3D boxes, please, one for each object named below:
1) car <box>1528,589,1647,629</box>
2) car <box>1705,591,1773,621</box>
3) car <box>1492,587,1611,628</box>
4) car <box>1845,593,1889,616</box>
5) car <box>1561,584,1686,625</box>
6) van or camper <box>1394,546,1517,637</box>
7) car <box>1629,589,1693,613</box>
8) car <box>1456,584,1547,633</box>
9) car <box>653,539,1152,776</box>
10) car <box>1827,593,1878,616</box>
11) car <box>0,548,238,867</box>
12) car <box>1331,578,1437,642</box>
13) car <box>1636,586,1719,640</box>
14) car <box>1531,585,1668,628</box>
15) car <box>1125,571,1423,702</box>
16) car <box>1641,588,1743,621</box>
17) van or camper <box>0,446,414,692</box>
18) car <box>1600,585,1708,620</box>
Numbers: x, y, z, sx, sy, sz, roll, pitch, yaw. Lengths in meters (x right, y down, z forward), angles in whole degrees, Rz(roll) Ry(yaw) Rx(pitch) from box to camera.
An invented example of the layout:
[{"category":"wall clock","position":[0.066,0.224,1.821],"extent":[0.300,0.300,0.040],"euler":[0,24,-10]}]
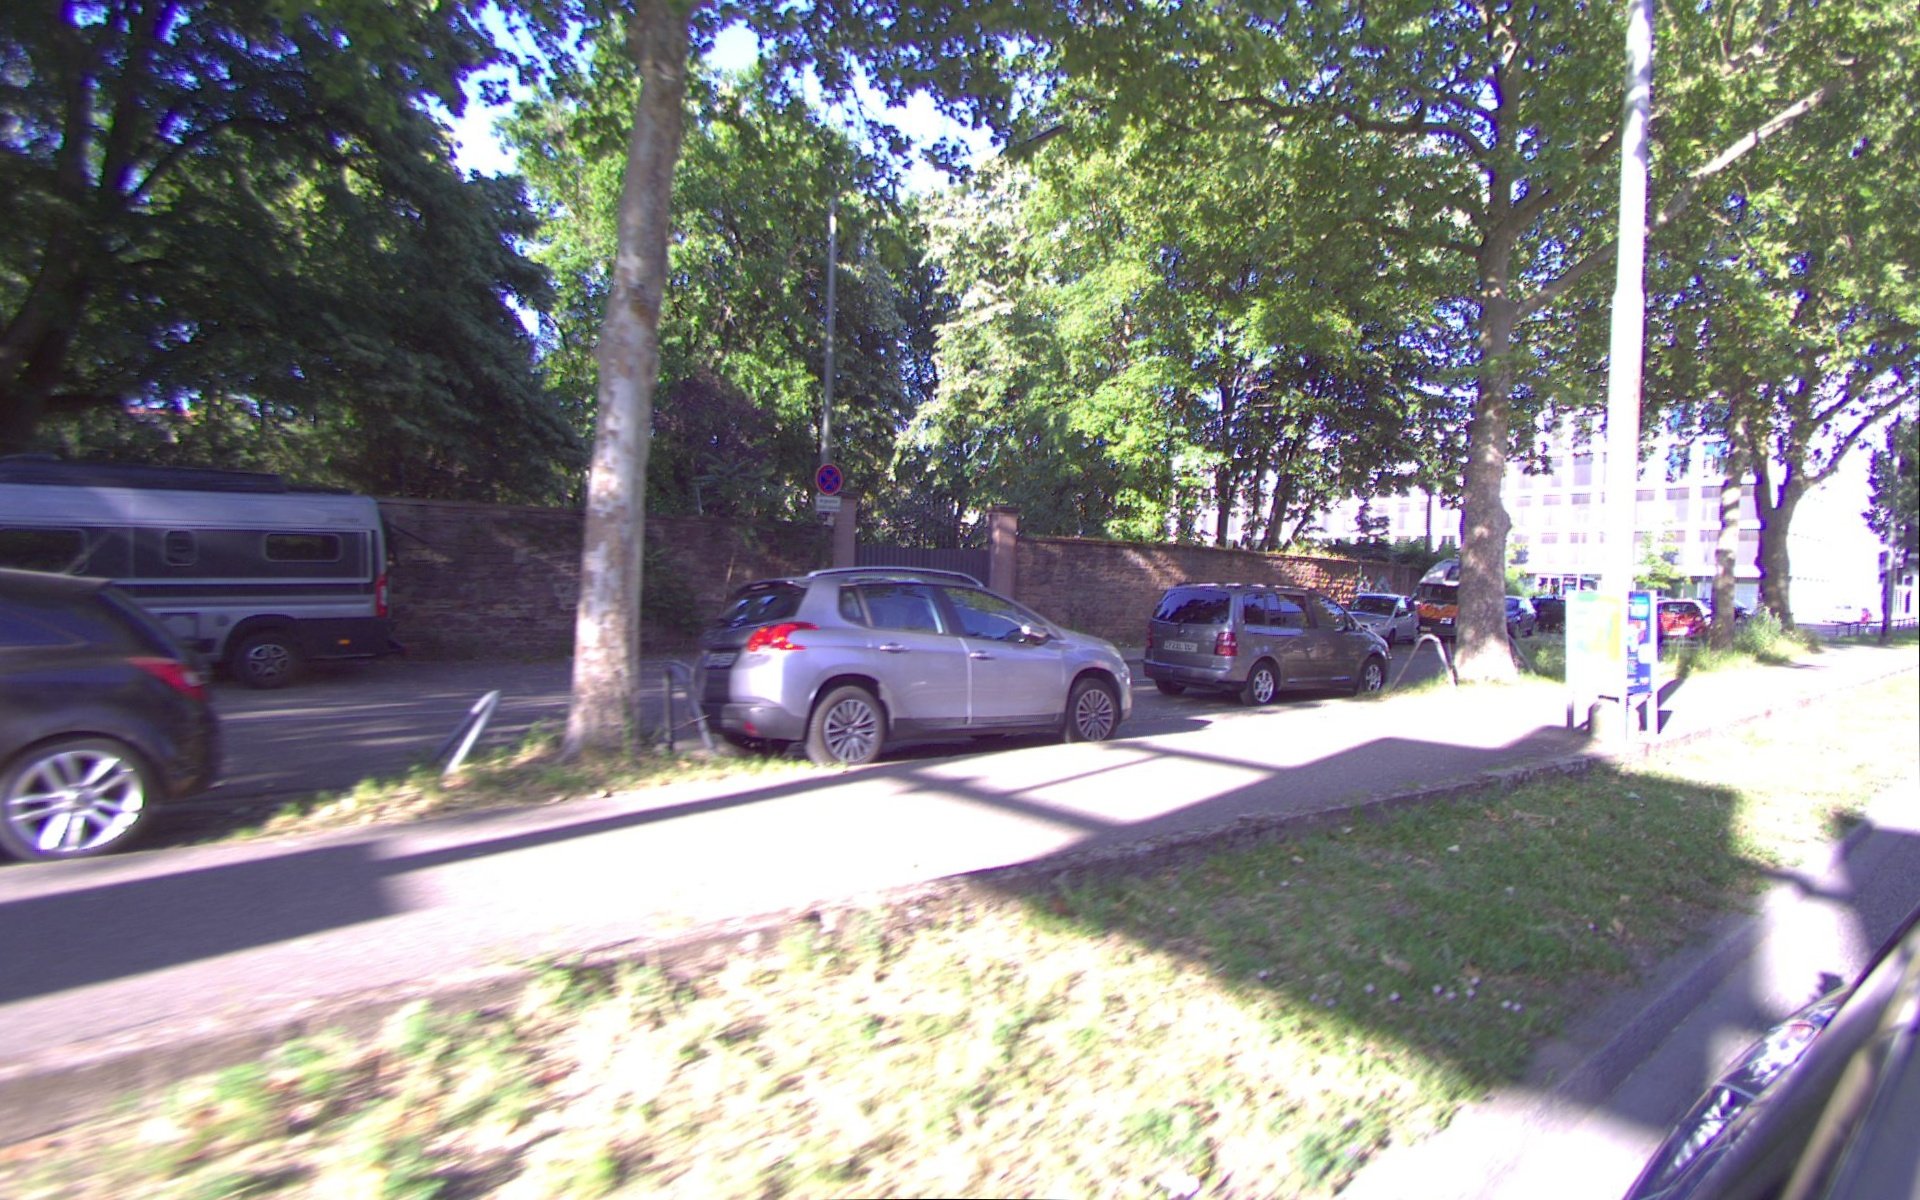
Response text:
[{"category":"car","position":[26.885,0.331,43.496],"extent":[1.590,1.409,4.000],"euler":[0,4,-37]},{"category":"car","position":[45.314,0.315,58.917],"extent":[1.433,1.568,2.779],"euler":[0,3,-31]},{"category":"car","position":[24.895,0.283,42.680],"extent":[1.736,1.523,3.992],"euler":[0,2,-43]},{"category":"car","position":[69.789,0.324,77.848],"extent":[4.197,1.503,1.870],"euler":[0,5,-40]},{"category":"car","position":[30.803,0.183,47.083],"extent":[1.963,1.427,4.397],"euler":[1,6,-37]},{"category":"van or camper","position":[16.781,-0.321,34.160],"extent":[4.882,2.763,1.997],"euler":[0,5,-44]},{"category":"car","position":[47.219,0.044,68.211],"extent":[3.800,1.555,1.756],"euler":[0,0,-22]},{"category":"car","position":[20.181,0.261,37.641],"extent":[1.994,1.592,3.939],"euler":[6,5,42]},{"category":"car","position":[-0.378,0.386,8.686],"extent":[3.946,1.580,1.797],"euler":[0,-1,-38]},{"category":"car","position":[65.837,0.294,74.641],"extent":[4.321,1.503,2.000],"euler":[0,5,-38]},{"category":"car","position":[-5.728,0.488,4.681],"extent":[3.814,1.456,1.797],"euler":[0,1,-39]},{"category":"car","position":[12.829,0.260,30.504],"extent":[1.838,1.637,3.944],"euler":[7,5,38]},{"category":"car","position":[23.469,0.363,33.041],"extent":[1.990,1.660,3.944],"euler":[0,1,39]},{"category":"car","position":[28.543,0.239,45.286],"extent":[1.964,1.422,4.734],"euler":[0,5,-40]},{"category":"car","position":[4.674,0.434,14.782],"extent":[4.539,1.655,1.798],"euler":[0,1,-36]},{"category":"car","position":[39.143,0.208,54.200],"extent":[1.685,1.485,4.091],"euler":[0,4,-39]},{"category":"van or camper","position":[-10.675,-0.419,12.673],"extent":[6.440,2.716,2.566],"euler":[1,3,-36]},{"category":"car","position":[35.102,0.101,51.228],"extent":[1.752,1.516,4.197],"euler":[0,3,-43]}]
